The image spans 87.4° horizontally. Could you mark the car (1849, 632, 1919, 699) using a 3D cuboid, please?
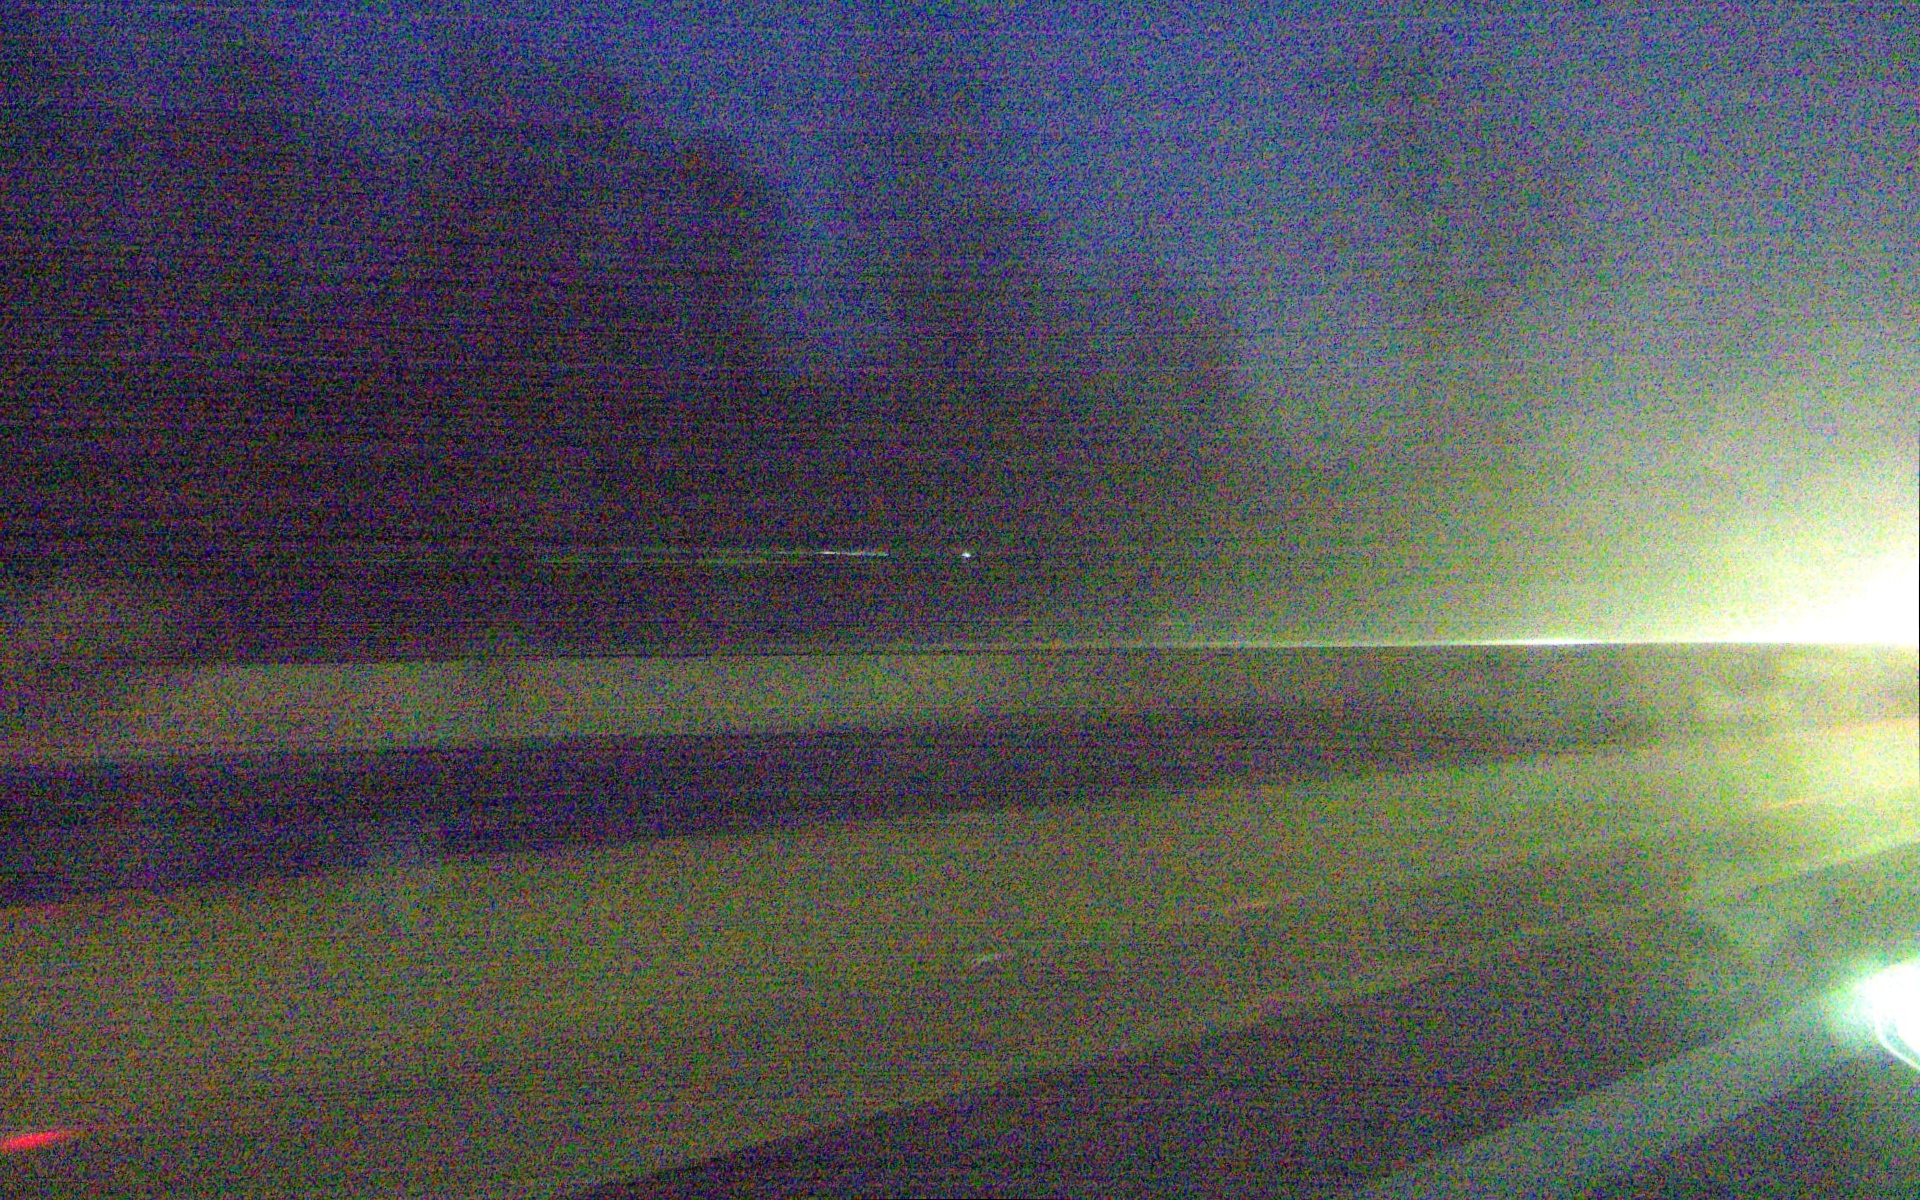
[{"bbox_3d":[28.200,1.885,29.433,3.952,1.758,1.984,1,2,-30],"label":"car"}]
